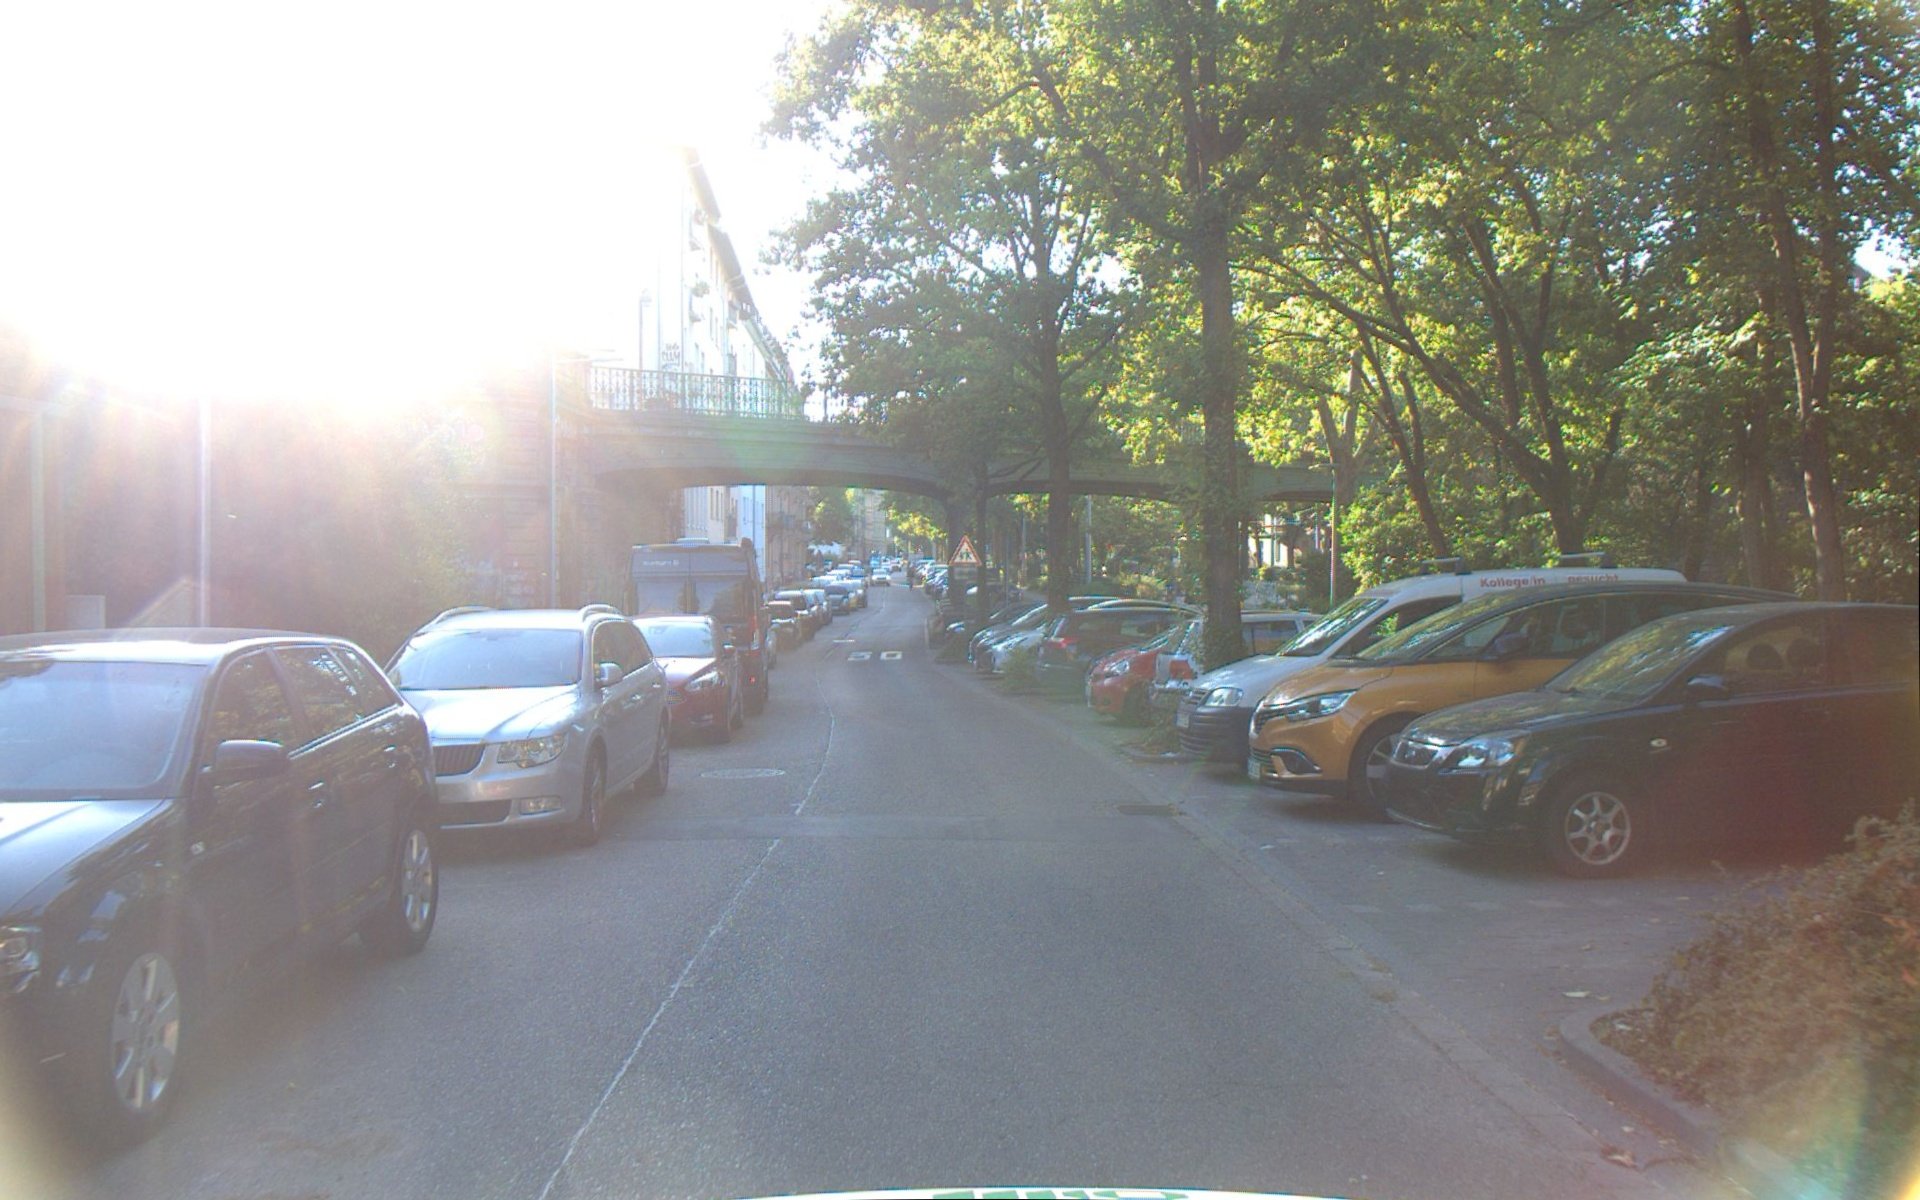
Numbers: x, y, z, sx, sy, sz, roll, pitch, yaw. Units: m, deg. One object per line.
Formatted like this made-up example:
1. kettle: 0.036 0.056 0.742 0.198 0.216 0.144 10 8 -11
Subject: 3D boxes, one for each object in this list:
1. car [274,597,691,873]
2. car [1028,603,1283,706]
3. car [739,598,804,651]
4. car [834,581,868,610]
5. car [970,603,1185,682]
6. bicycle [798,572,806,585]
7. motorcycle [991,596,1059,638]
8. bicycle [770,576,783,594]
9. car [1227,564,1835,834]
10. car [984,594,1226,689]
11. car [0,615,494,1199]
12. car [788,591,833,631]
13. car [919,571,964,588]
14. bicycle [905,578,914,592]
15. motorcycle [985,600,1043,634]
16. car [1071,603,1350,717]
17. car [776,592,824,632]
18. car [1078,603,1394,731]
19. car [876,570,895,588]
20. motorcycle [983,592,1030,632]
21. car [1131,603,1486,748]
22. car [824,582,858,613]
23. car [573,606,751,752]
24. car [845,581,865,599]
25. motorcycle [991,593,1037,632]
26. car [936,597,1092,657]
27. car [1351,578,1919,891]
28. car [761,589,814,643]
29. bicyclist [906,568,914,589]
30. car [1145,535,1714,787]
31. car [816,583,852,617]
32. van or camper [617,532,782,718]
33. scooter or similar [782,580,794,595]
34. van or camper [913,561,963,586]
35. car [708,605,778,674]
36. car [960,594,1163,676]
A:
1. car: -3.100 0.781 11.737 1.665 1.524 4.548 -2 0 -1
2. car: 3.183 0.886 27.348 3.942 1.601 1.586 1 0 -5
3. car: -5.910 0.742 52.142 1.682 1.489 3.999 -1 1 -2
4. car: -6.089 -0.254 92.534 1.704 1.505 4.000 -1 1 -1
5. car: 2.422 0.875 34.838 4.288 1.559 1.874 1 0 -5
6. bicycle: -15.479 -2.101 161.999 0.691 1.167 1.887 1 0 -6
7. motorcycle: 2.003 0.519 51.042 1.907 1.259 0.896 1 -1 -28
8. bicycle: -13.391 -1.088 120.976 0.722 1.227 2.514 1 2 -2
9. car: 4.077 0.683 12.307 3.904 1.788 1.799 1 0 1
10. car: 2.771 0.788 32.292 4.443 1.725 1.906 1 0 -5
11. car: -3.050 0.803 5.801 1.665 1.424 4.193 -2 0 -1
12. car: -6.274 0.436 69.818 1.604 1.492 3.999 -3 1 -2
13. car: -1.754 -1.954 155.164 4.132 1.478 1.649 -2 1 1
14. bicycle: -4.042 -1.209 133.179 0.628 1.119 1.942 1 0 -4
15. motorcycle: 1.862 0.577 56.780 1.809 1.152 0.843 1 0 -26
16. car: 3.726 0.885 24.964 3.908 1.601 1.586 1 0 -5
17. car: -6.305 0.452 65.552 1.655 1.466 3.999 0 1 -2
18. car: 3.650 0.872 22.229 3.908 1.601 1.586 1 0 -5
19. car: -6.762 -1.894 151.103 1.635 1.455 4.000 -3 3 -2
20. motorcycle: 1.729 0.452 61.071 1.566 1.433 0.713 1 -1 18
21. car: 4.109 0.870 19.890 3.905 1.601 1.665 1 0 -1
22. car: -6.283 -0.162 87.652 1.668 1.551 3.772 0 1 -3
23. car: -3.499 0.868 20.065 1.666 1.533 4.225 -2 0 -4
24. car: -8.980 -0.893 141.572 1.473 1.460 2.754 -1 2 2
25. motorcycle: 2.040 0.461 61.997 1.566 1.433 0.713 1 -1 18
26. car: 1.516 0.757 47.143 4.288 1.605 1.673 1 0 -5
27. car: 4.542 0.750 9.886 3.910 1.656 1.796 1 0 -7
28. car: -6.028 0.530 58.019 1.683 1.737 4.319 -1 1 -4
29. bicyclist: -4.043 -1.734 133.251 0.615 1.600 0.801 1 -1 -4
30. car: 4.155 0.511 15.094 4.580 1.958 1.871 -2 0 -4
31. car: -6.180 -0.013 81.398 1.535 1.544 3.782 0 1 -1
32. van or camper: -3.988 0.362 26.388 2.192 2.567 6.413 1 0 -6
33. scooter or similar: -14.458 -1.063 138.952 0.767 1.243 2.703 1 0 -3
34. van or camper: -2.225 -2.701 167.673 4.884 2.419 2.183 1 0 -5
35. car: -5.486 0.971 42.199 1.564 1.574 3.911 -1 1 -5
36. car: 2.256 0.777 37.343 4.291 1.738 1.904 1 0 -7
